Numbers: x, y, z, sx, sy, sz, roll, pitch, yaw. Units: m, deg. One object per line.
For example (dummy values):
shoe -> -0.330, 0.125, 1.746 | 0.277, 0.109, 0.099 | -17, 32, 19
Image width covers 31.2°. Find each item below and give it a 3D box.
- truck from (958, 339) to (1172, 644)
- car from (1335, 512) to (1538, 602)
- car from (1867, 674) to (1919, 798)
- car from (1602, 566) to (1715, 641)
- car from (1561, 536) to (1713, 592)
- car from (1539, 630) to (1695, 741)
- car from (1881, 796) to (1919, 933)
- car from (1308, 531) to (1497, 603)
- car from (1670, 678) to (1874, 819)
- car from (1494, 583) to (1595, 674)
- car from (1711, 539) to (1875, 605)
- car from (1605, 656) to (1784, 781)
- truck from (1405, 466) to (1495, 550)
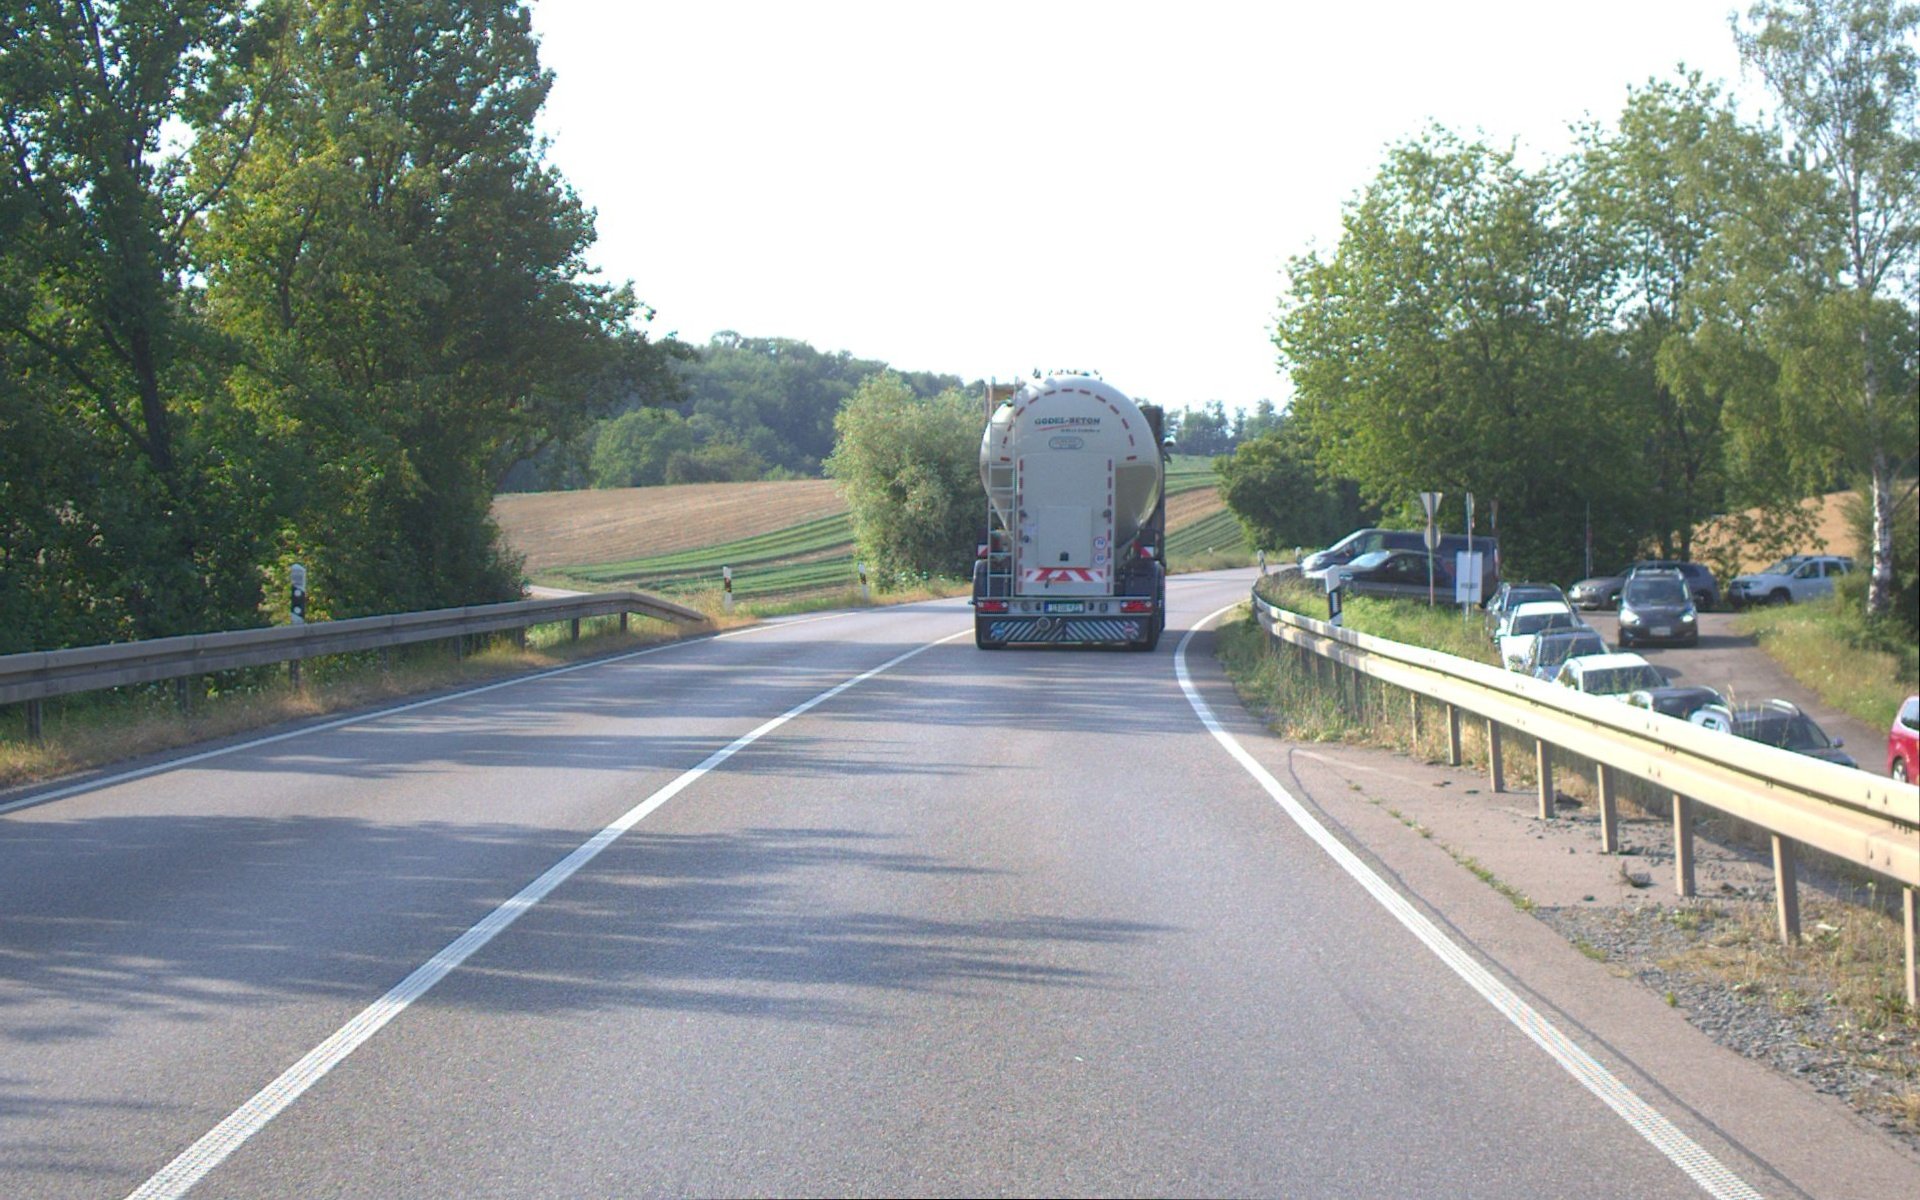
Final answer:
truck -> 1.693, -1.620, 53.205 | 2.893, 4.128, 13.172 | 0, 1, 2
car -> 12.720, -1.161, 91.995 | 5.141, 1.937, 1.975 | 5, 2, 5
car -> 15.471, 2.120, 51.993 | 1.892, 1.681, 5.087 | -4, 3, -2
car -> 16.113, 0.064, 79.511 | 1.892, 1.669, 4.782 | 0, 1, 3
car -> 18.887, -1.006, 95.908 | 3.717, 1.436, 1.812 | 1, 1, -19
car -> 11.959, 1.526, 62.898 | 1.892, 1.554, 4.783 | -4, 3, 1
car -> 12.879, 3.236, 40.203 | 1.891, 1.554, 4.784 | -4, 3, -14
car -> 11.002, -0.813, 85.447 | 4.310, 1.504, 1.721 | 3, 2, -25
car -> 12.172, 2.193, 51.816 | 1.892, 1.554, 4.783 | -4, 3, 1
car -> 12.583, 0.583, 74.217 | 1.892, 1.554, 4.782 | -3, 3, 8
car -> 23.674, -0.818, 97.726 | 4.203, 1.741, 1.812 | -2, 2, -21
car -> 12.124, 1.919, 57.031 | 1.892, 1.554, 4.783 | -4, 3, 1
truck -> 25.851, -4.888, 180.726 | 3.185, 4.213, 13.164 | -1, 2, 15
